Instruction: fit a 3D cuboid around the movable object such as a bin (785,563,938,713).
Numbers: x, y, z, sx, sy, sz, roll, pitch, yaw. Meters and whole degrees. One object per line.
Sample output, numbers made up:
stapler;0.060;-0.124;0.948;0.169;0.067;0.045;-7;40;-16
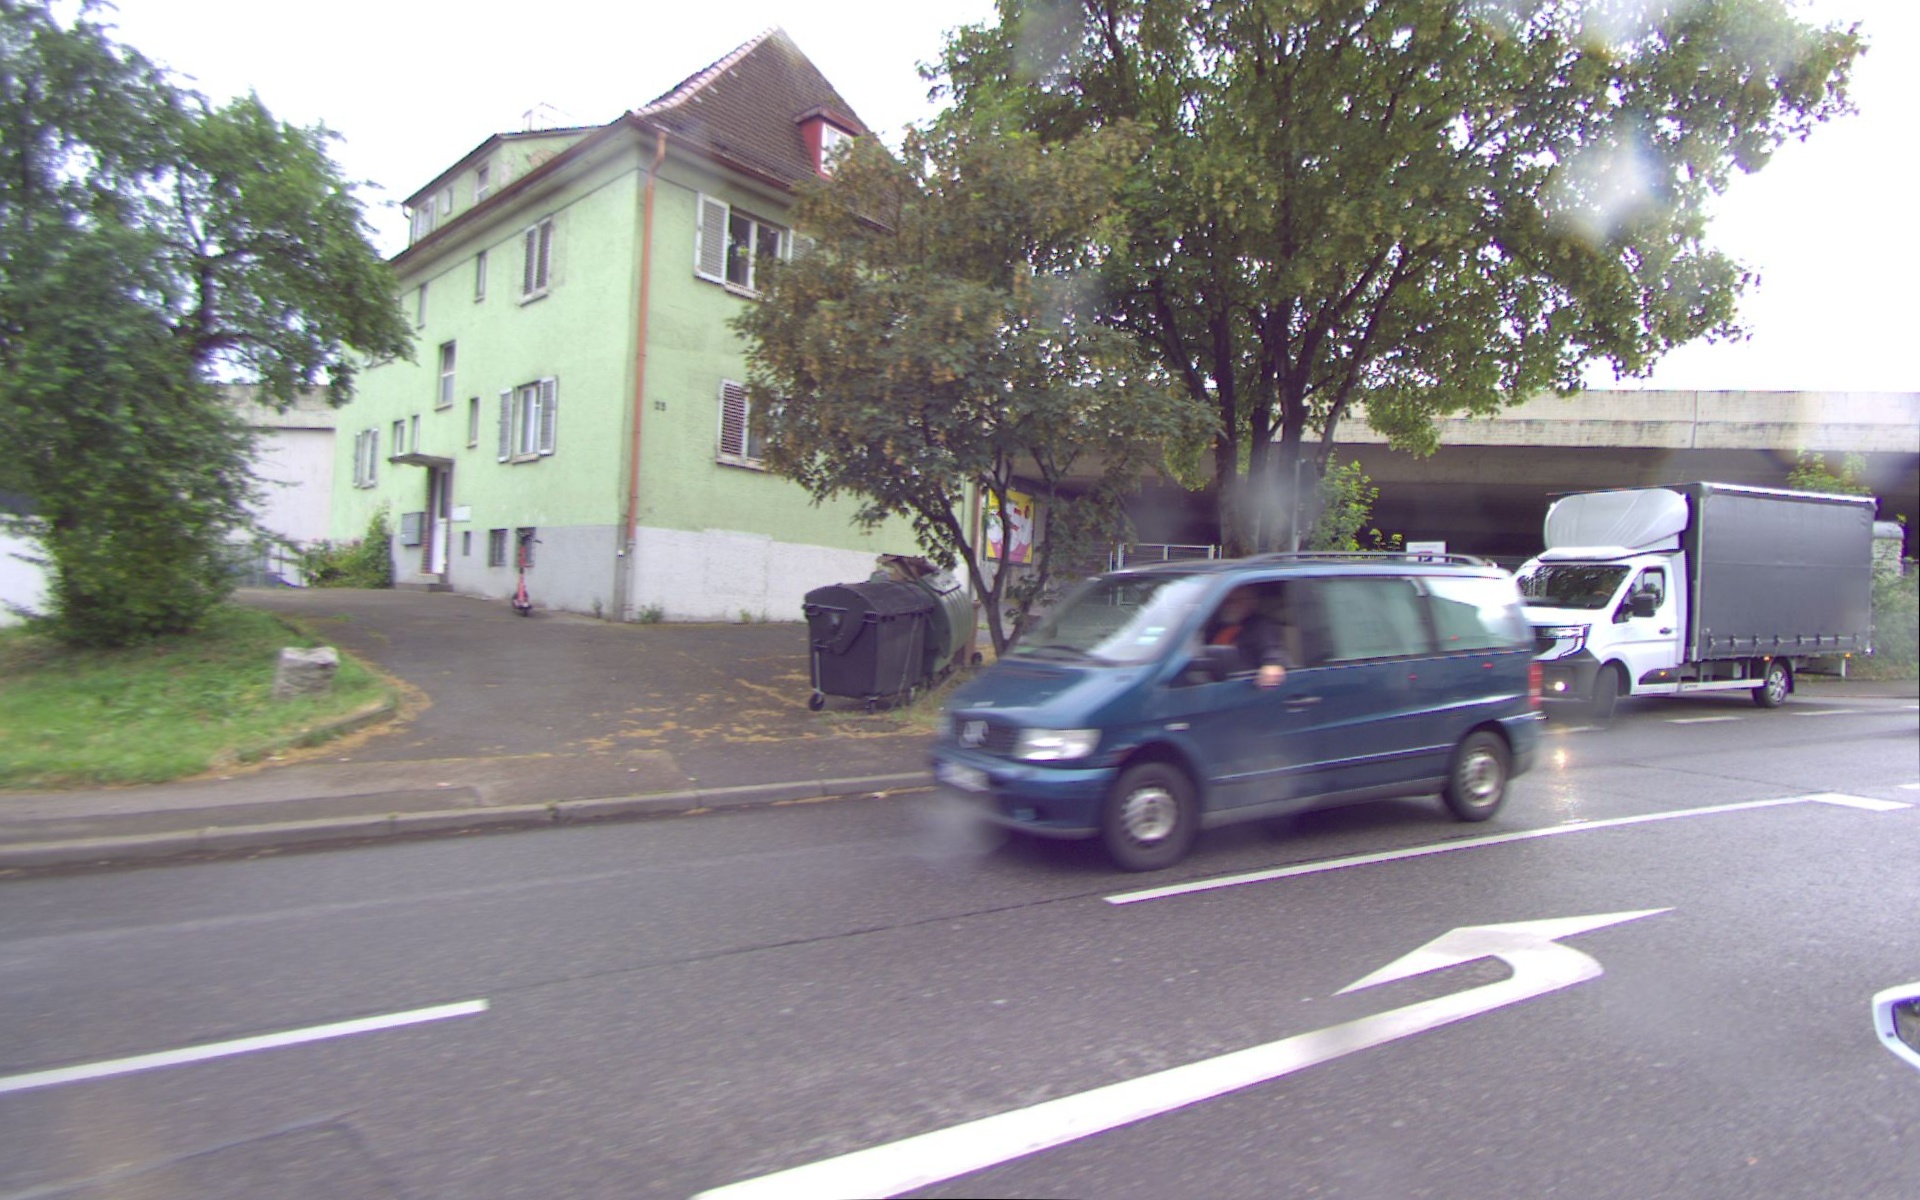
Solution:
movable object such as a bin;-1.107;0.385;11.663;1.268;1.457;1.462;4;7;16

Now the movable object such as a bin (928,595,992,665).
movable object such as a bin;-0.004;0.427;14.451;0.714;0.970;0.554;2;0;-27

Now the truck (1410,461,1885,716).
truck;10.895;-0.076;15.754;7.671;3.280;2.602;1;0;-25

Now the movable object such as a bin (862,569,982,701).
movable object such as a bin;-0.463;0.403;12.992;1.079;1.457;1.462;4;7;16

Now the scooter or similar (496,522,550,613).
scooter or similar;-6.747;-0.522;15.474;0.524;1.291;1.512;2;4;-31

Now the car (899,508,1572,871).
car;2.070;0.521;7.340;4.622;1.957;1.951;1;0;-27

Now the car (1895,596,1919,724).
car;14.228;0.772;12.847;4.274;1.600;1.826;0;2;-25
